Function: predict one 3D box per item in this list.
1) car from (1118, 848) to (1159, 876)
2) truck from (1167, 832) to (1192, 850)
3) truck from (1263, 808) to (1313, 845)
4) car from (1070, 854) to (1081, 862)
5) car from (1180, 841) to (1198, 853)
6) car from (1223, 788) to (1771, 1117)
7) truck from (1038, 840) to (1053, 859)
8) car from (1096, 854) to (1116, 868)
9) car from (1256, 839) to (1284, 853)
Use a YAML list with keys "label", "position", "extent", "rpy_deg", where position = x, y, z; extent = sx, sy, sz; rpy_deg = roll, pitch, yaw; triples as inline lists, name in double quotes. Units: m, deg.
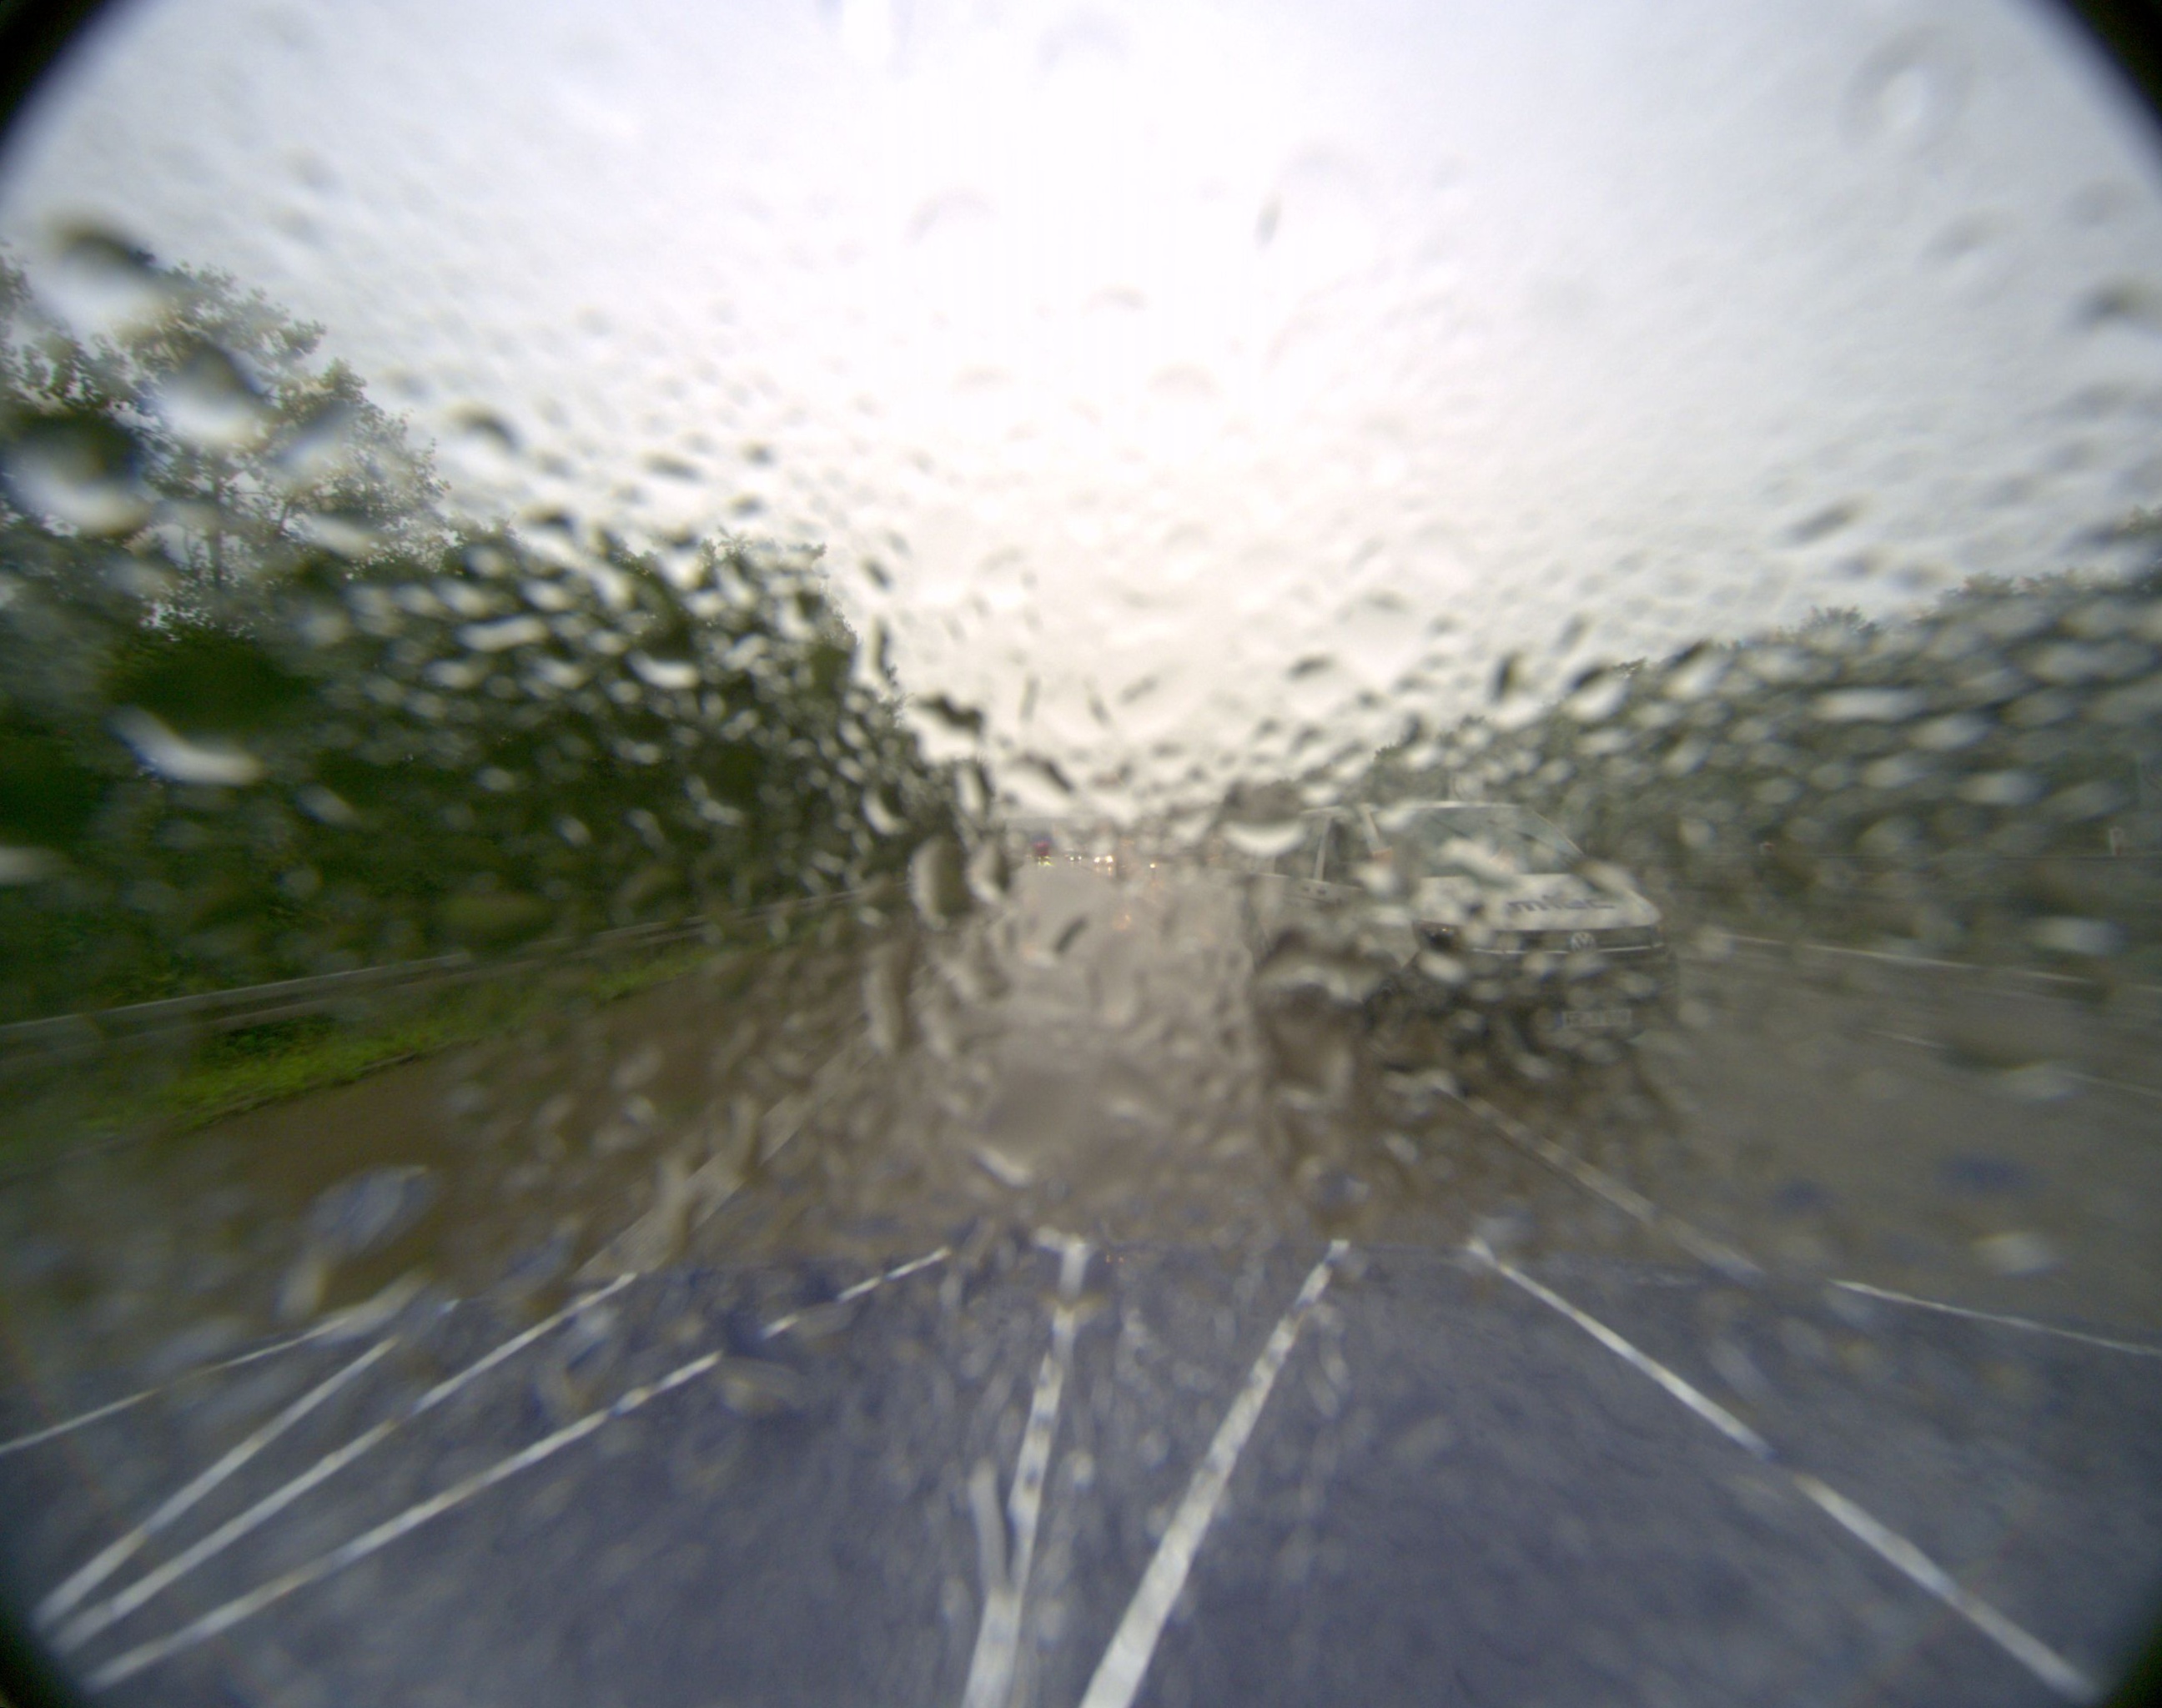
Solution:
- label: "car"
  position: [3.069, 0.409, 41.388]
  extent: [1.934, 1.426, 4.518]
  rpy_deg: [0, 1, 1]
- label: "truck"
  position: [19.184, -2.505, 148.732]
  extent: [2.781, 3.296, 11.512]
  rpy_deg: [-3, 0, -2]
- label: "truck"
  position: [23.017, -3.009, 84.916]
  extent: [2.591, 3.679, 9.798]
  rpy_deg: [-3, 0, -1]
- label: "car"
  position: [-0.998, 0.704, 140.540]
  extent: [1.934, 1.426, 4.518]
  rpy_deg: [0, 1, 1]
- label: "car"
  position: [18.059, -1.179, 127.177]
  extent: [1.982, 2.002, 5.197]
  rpy_deg: [-4, 1, -1]
- label: "car"
  position: [2.956, 0.558, 6.978]
  extent: [1.905, 1.883, 5.040]
  rpy_deg: [-1, 0, -5]
- label: "truck"
  position: [-8.099, -0.965, 174.030]
  extent: [3.058, 3.994, 10.043]
  rpy_deg: [0, -2, -1]
- label: "car"
  position: [2.622, 0.712, 80.141]
  extent: [1.934, 1.426, 4.517]
  rpy_deg: [0, 1, 0]
- label: "car"
  position: [20.103, -0.827, 81.048]
  extent: [1.757, 1.331, 4.424]
  rpy_deg: [-3, 0, 0]
